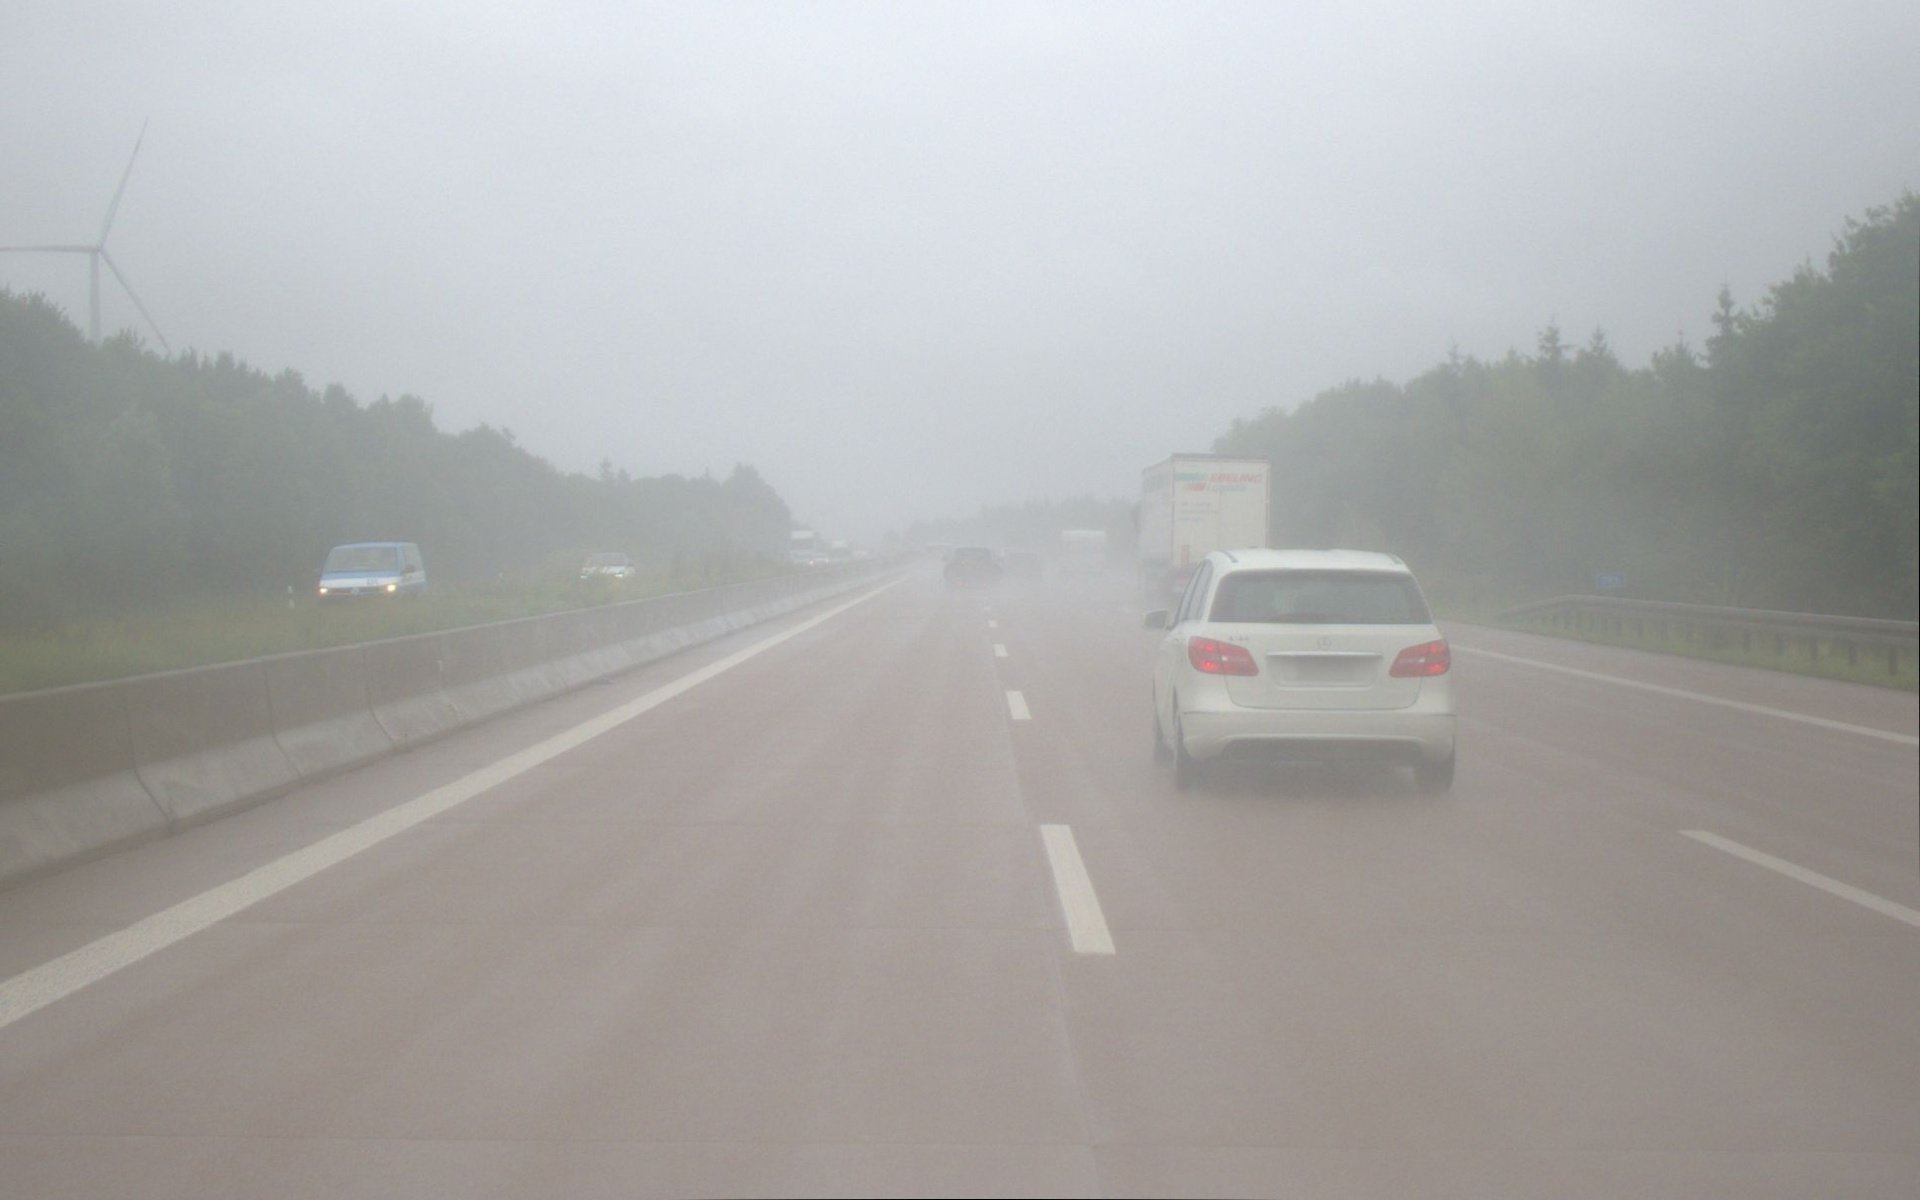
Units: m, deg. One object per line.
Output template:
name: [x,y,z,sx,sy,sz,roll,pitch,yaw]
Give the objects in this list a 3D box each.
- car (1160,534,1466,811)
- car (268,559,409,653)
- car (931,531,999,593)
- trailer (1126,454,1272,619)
car: [2.352,0.420,23.972,1.808,1.722,4.743,1,1,2]
car: [-14.125,0.099,78.404,2.306,2.007,5.663,1,1,-1]
car: [0.170,-1.267,113.871,2.173,1.974,4.130,1,1,0]
trailer: [6.500,-1.787,95.388,2.852,4.217,13.133,-1,1,-1]
